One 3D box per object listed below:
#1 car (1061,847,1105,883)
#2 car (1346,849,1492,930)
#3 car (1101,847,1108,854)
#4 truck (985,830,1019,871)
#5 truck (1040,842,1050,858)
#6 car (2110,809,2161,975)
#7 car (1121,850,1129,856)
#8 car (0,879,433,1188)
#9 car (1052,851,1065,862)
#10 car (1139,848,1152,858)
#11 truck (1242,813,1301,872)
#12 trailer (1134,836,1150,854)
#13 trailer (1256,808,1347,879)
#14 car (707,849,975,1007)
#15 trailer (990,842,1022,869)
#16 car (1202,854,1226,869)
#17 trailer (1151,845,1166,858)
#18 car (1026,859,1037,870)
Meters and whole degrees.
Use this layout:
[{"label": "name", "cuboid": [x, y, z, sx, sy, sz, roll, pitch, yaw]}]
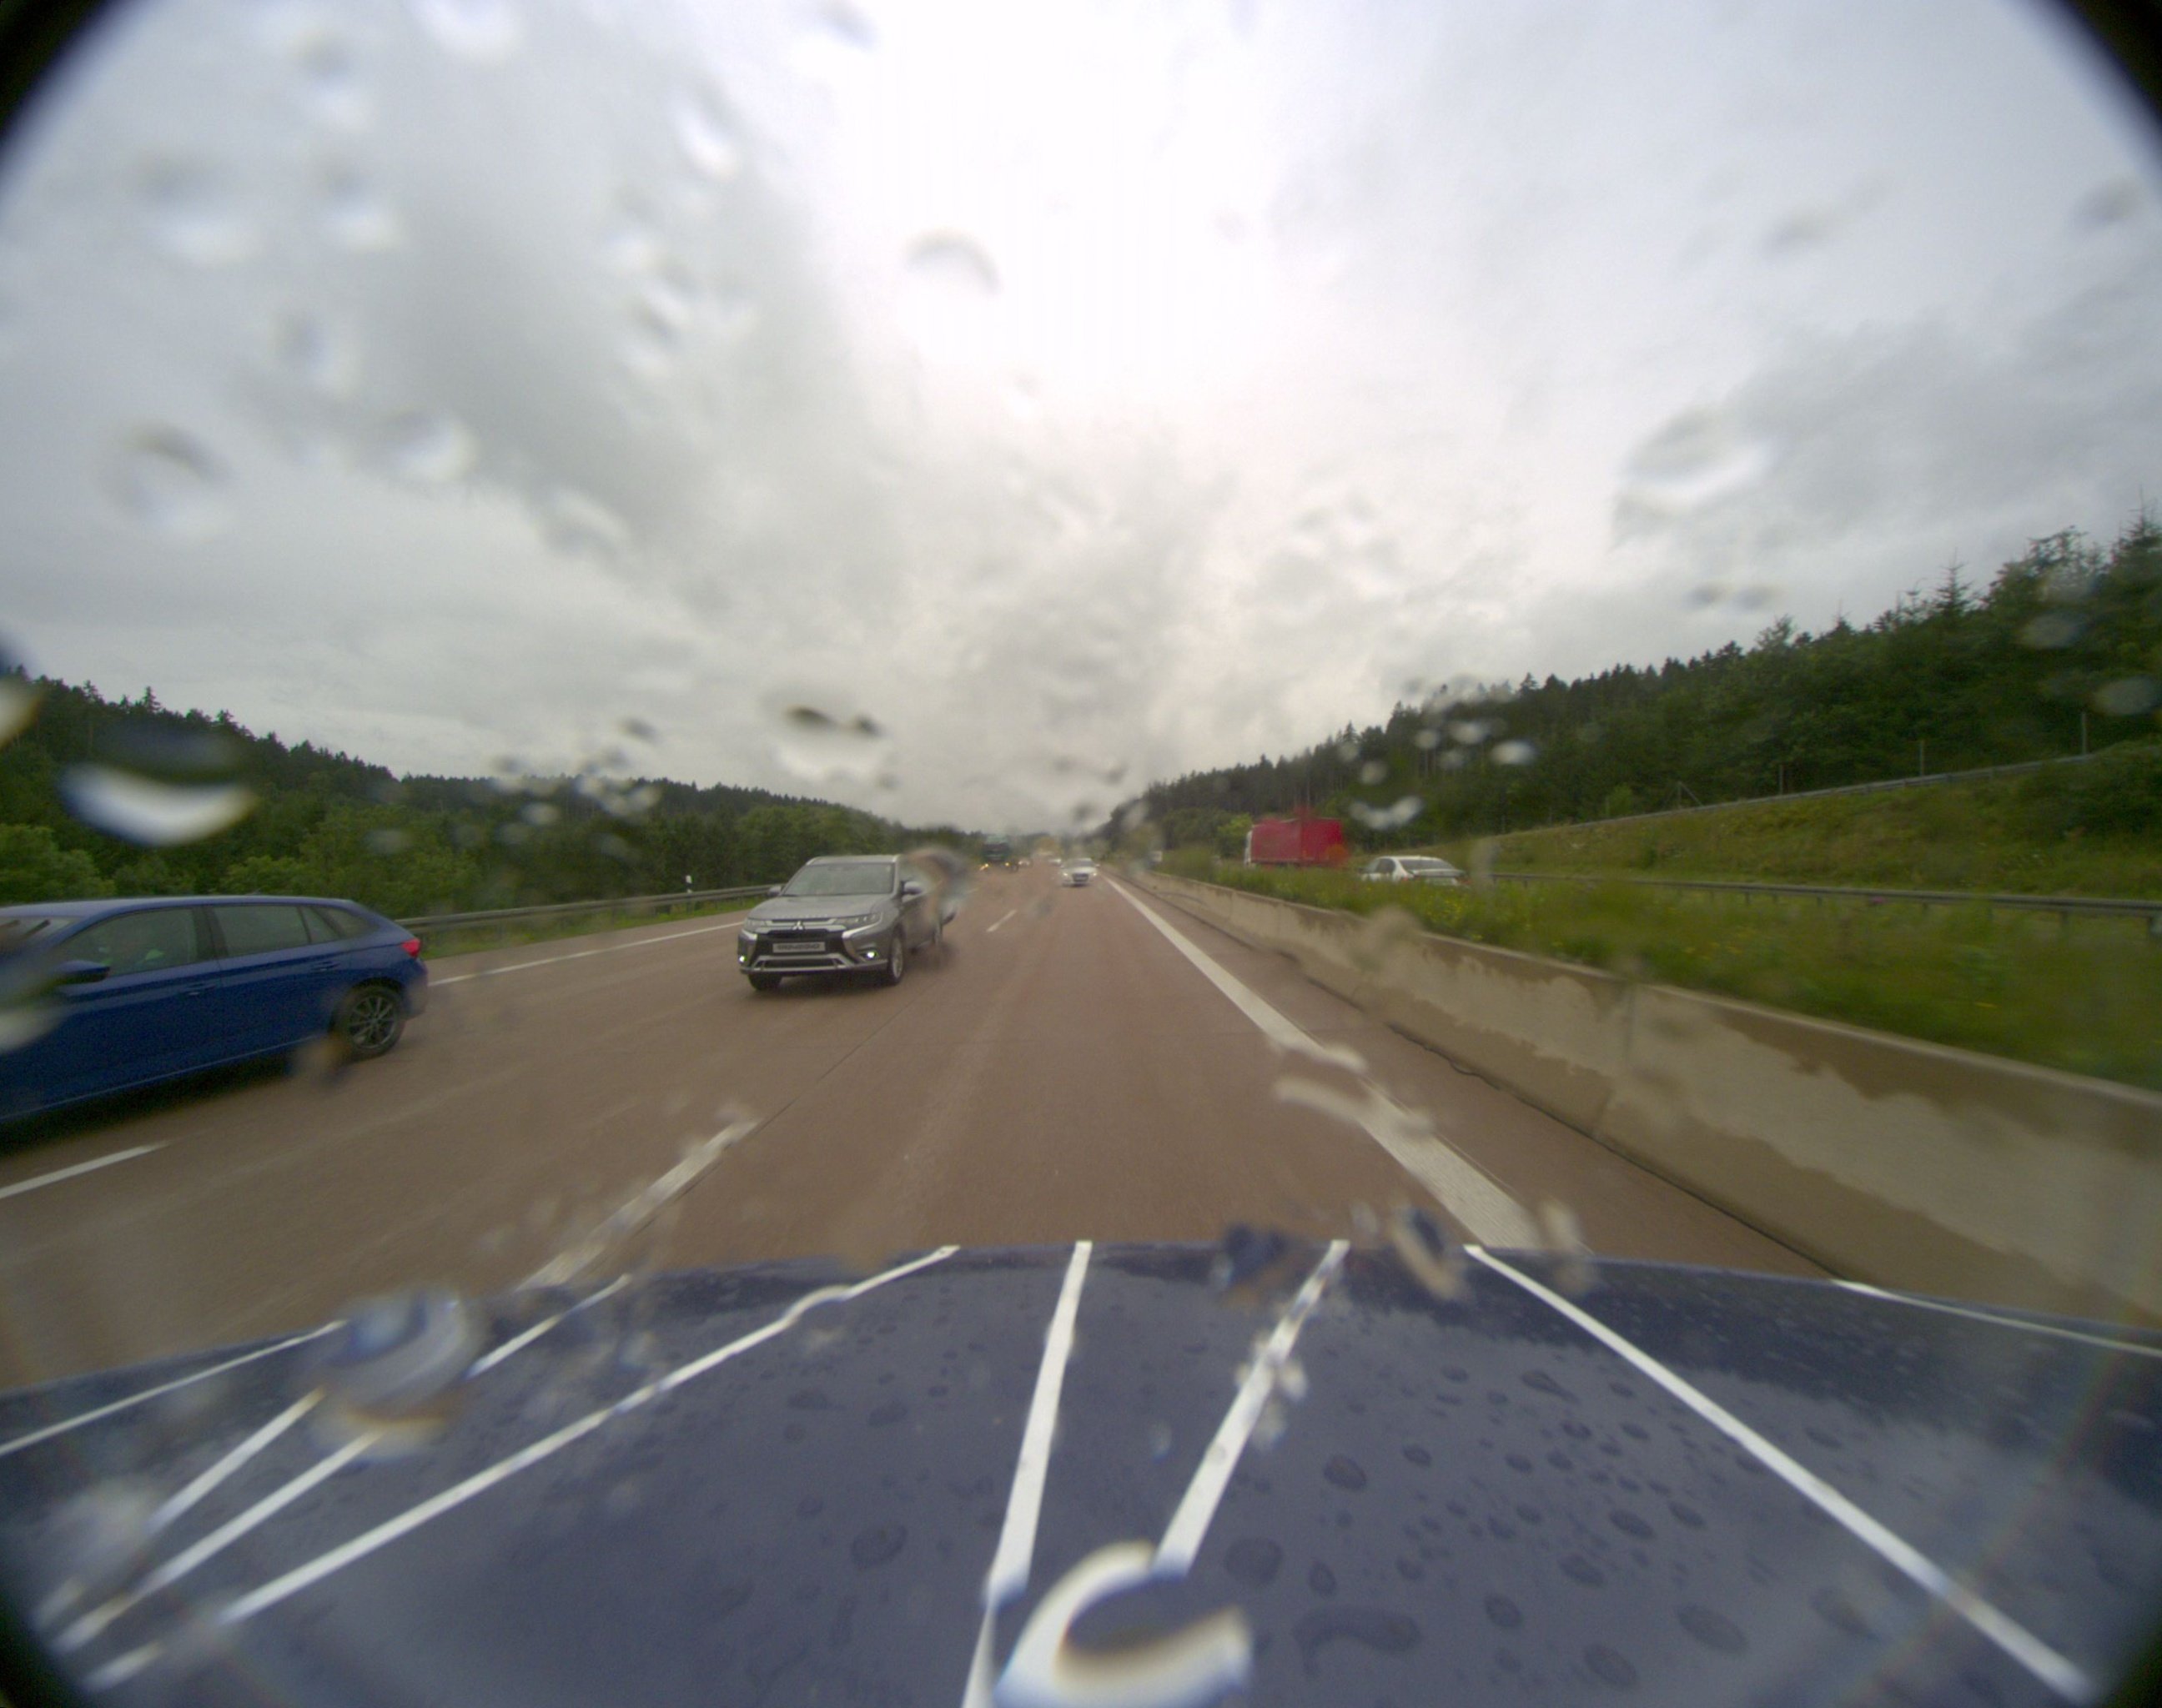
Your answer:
[{"label": "car", "cuboid": [0.045, 0.538, 40.003, 1.999, 1.623, 4.929, -3, 1, -3]}, {"label": "car", "cuboid": [8.285, 0.783, 19.092, 1.682, 1.638, 4.444, -3, 1, 1]}, {"label": "car", "cuboid": [5.910, -0.811, 190.124, 1.674, 1.656, 4.475, -3, 1, 0]}, {"label": "truck", "cuboid": [-7.967, -0.404, 77.773, 2.905, 3.942, 6.985, -3, 2, -3]}, {"label": "truck", "cuboid": [-9.765, -1.090, 207.120, 2.611, 4.190, 6.247, -3, 2, -3]}, {"label": "car", "cuboid": [12.003, 0.414, 5.855, 1.738, 1.712, 4.761, -3, 1, 1]}, {"label": "car", "cuboid": [10.918, -0.266, 188.417, 1.696, 1.548, 5.676, 0, 0, -1]}, {"label": "car", "cuboid": [-6.906, 1.094, 4.925, 1.776, 1.555, 4.145, -3, 1, -1]}, {"label": "car", "cuboid": [-3.811, 0.397, 126.546, 1.999, 1.623, 4.929, -3, 1, -3]}, {"label": "car", "cuboid": [11.360, -0.181, 133.880, 1.869, 1.656, 4.707, -3, 1, 1]}, {"label": "truck", "cuboid": [15.429, -0.986, 62.049, 2.958, 4.452, 6.790, -3, 2, 0]}, {"label": "trailer", "cuboid": [14.796, -2.181, 184.317, 2.746, 4.116, 12.751, 0, 1, -1]}, {"label": "trailer", "cuboid": [15.446, -0.816, 54.406, 2.948, 4.463, 11.771, -3, 1, 0]}, {"label": "car", "cuboid": [-3.108, 0.823, 11.478, 1.998, 1.584, 5.819, -3, 1, 1]}, {"label": "trailer", "cuboid": [-8.302, 0.079, 85.675, 2.889, 2.660, 11.393, -3, 1, -2]}, {"label": "car", "cuboid": [15.293, 0.827, 87.439, 1.999, 1.567, 4.523, -1, 1, 0]}, {"label": "trailer", "cuboid": [15.137, -0.535, 149.011, 2.283, 2.397, 5.437, 1, 0, -1]}, {"label": "car", "cuboid": [-7.803, 1.643, 119.511, 1.703, 1.602, 4.974, -2, 1, -3]}]
